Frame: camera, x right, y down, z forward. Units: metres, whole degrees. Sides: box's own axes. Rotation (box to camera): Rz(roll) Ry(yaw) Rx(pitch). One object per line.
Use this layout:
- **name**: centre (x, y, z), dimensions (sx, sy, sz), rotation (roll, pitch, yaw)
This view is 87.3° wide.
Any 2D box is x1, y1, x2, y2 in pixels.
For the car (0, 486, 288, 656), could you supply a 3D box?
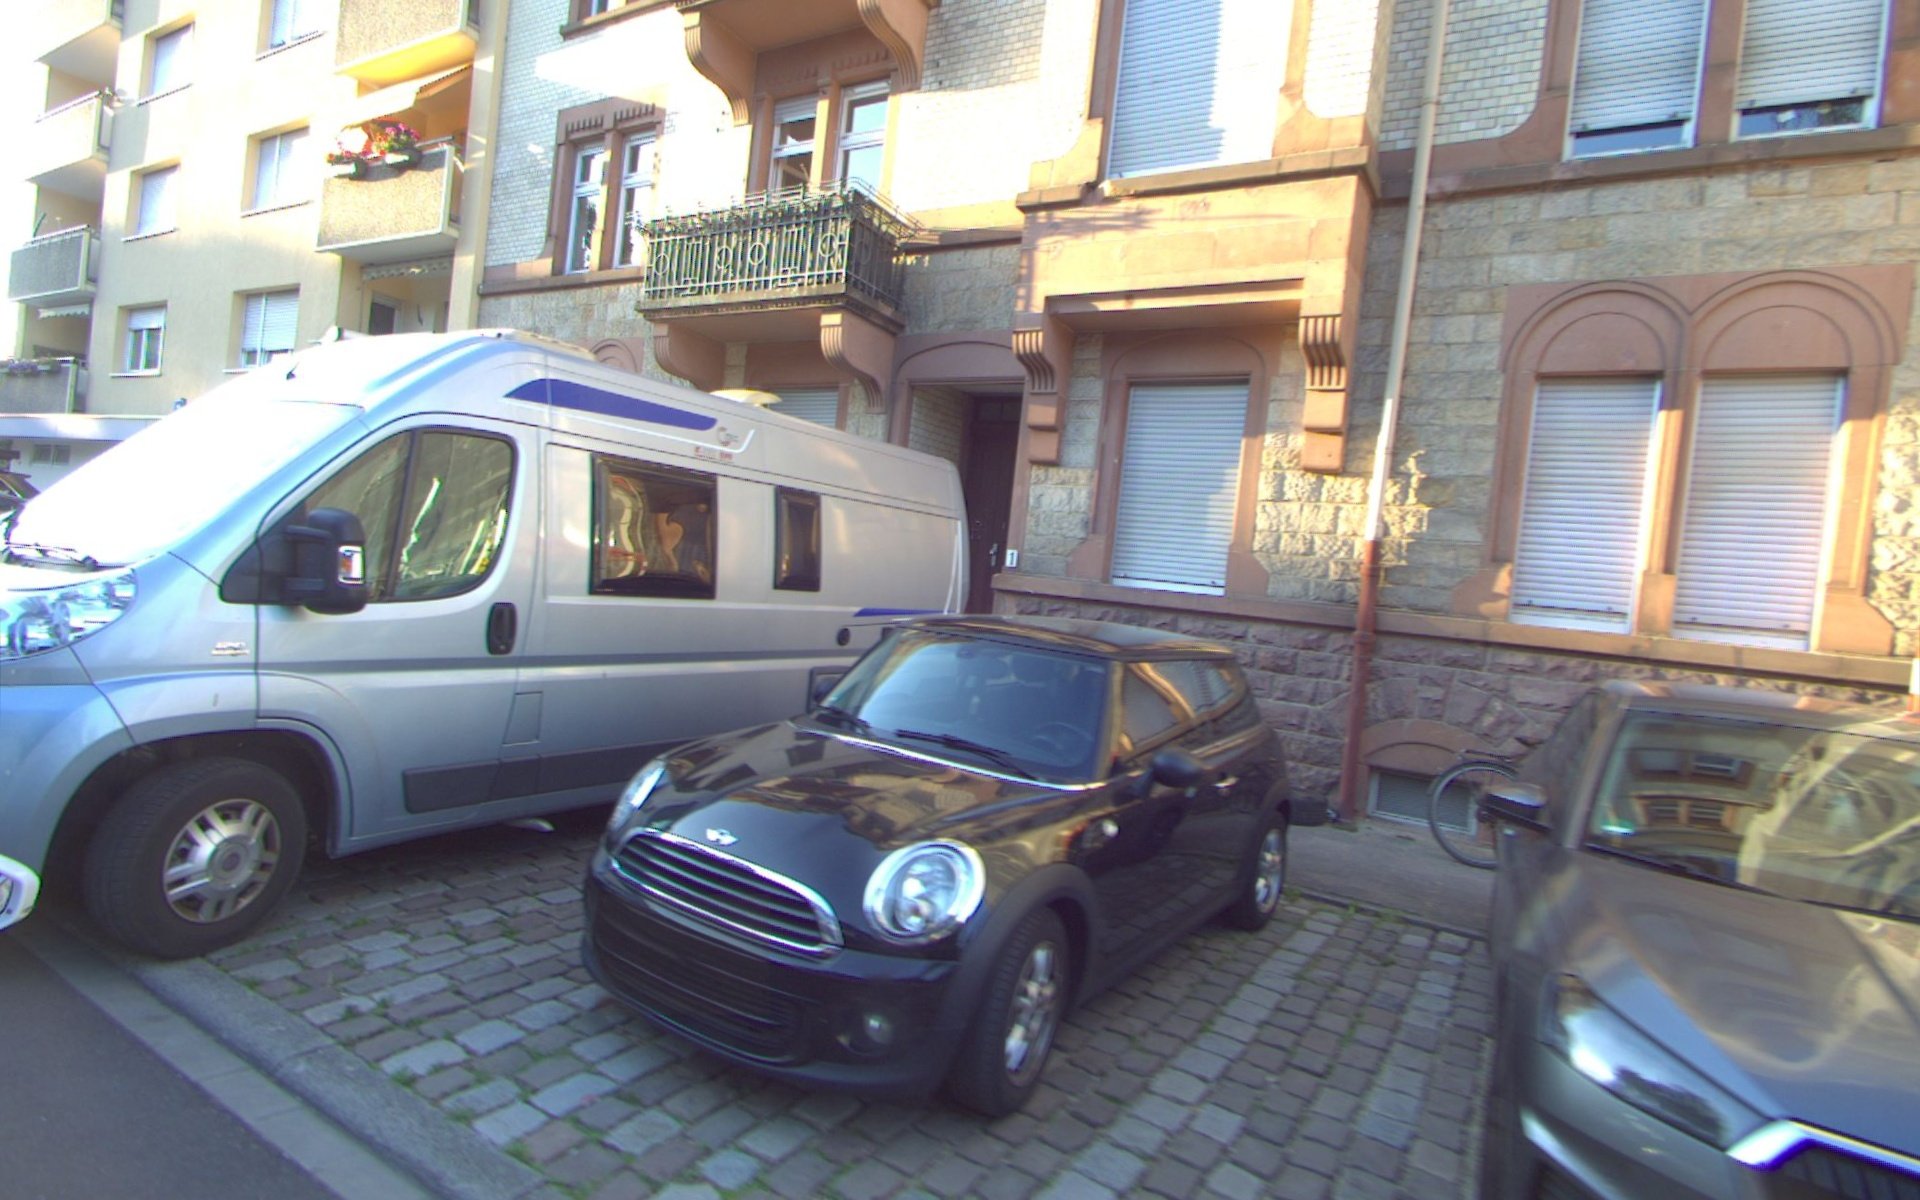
- **car**: centre (-9.040, -0.329, 9.565), dimensions (1.803, 1.473, 3.990), rotation (7, 2, 27)

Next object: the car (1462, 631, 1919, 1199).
- **car**: centre (2.789, 0.996, 3.178), dimensions (1.984, 1.536, 3.991), rotation (7, 2, 27)

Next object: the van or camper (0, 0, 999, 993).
- **van or camper**: centre (-2.227, -0.157, 5.566), dimensions (2.074, 2.802, 5.940), rotation (7, -1, 30)

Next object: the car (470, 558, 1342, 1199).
- **car**: centre (0.263, 0.740, 4.390), dimensions (1.758, 1.505, 3.934), rotation (5, 1, 33)

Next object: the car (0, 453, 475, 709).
- **car**: centre (-6.716, -0.155, 8.569), dimensions (1.741, 1.750, 4.443), rotation (7, 1, 25)

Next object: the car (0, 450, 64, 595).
- **car**: centre (-16.489, -1.458, 14.586), dimensions (1.966, 2.171, 4.715), rotation (7, -1, 30)

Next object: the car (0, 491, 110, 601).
- **car**: centre (-14.309, -0.872, 13.379), dimensions (1.690, 1.444, 4.239), rotation (7, 1, 31)

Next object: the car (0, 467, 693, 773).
- **car**: centre (-4.329, 0.151, 7.937), dimensions (1.741, 1.616, 4.443), rotation (7, 1, 25)

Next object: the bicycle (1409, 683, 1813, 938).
- **bicycle**: centre (4.071, 1.271, 6.510), dimensions (1.999, 1.183, 0.632), rotation (7, 0, 26)

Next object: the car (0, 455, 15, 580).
- **car**: centre (-18.710, -1.715, 16.103), dimensions (1.966, 2.171, 4.715), rotation (7, -1, 30)
